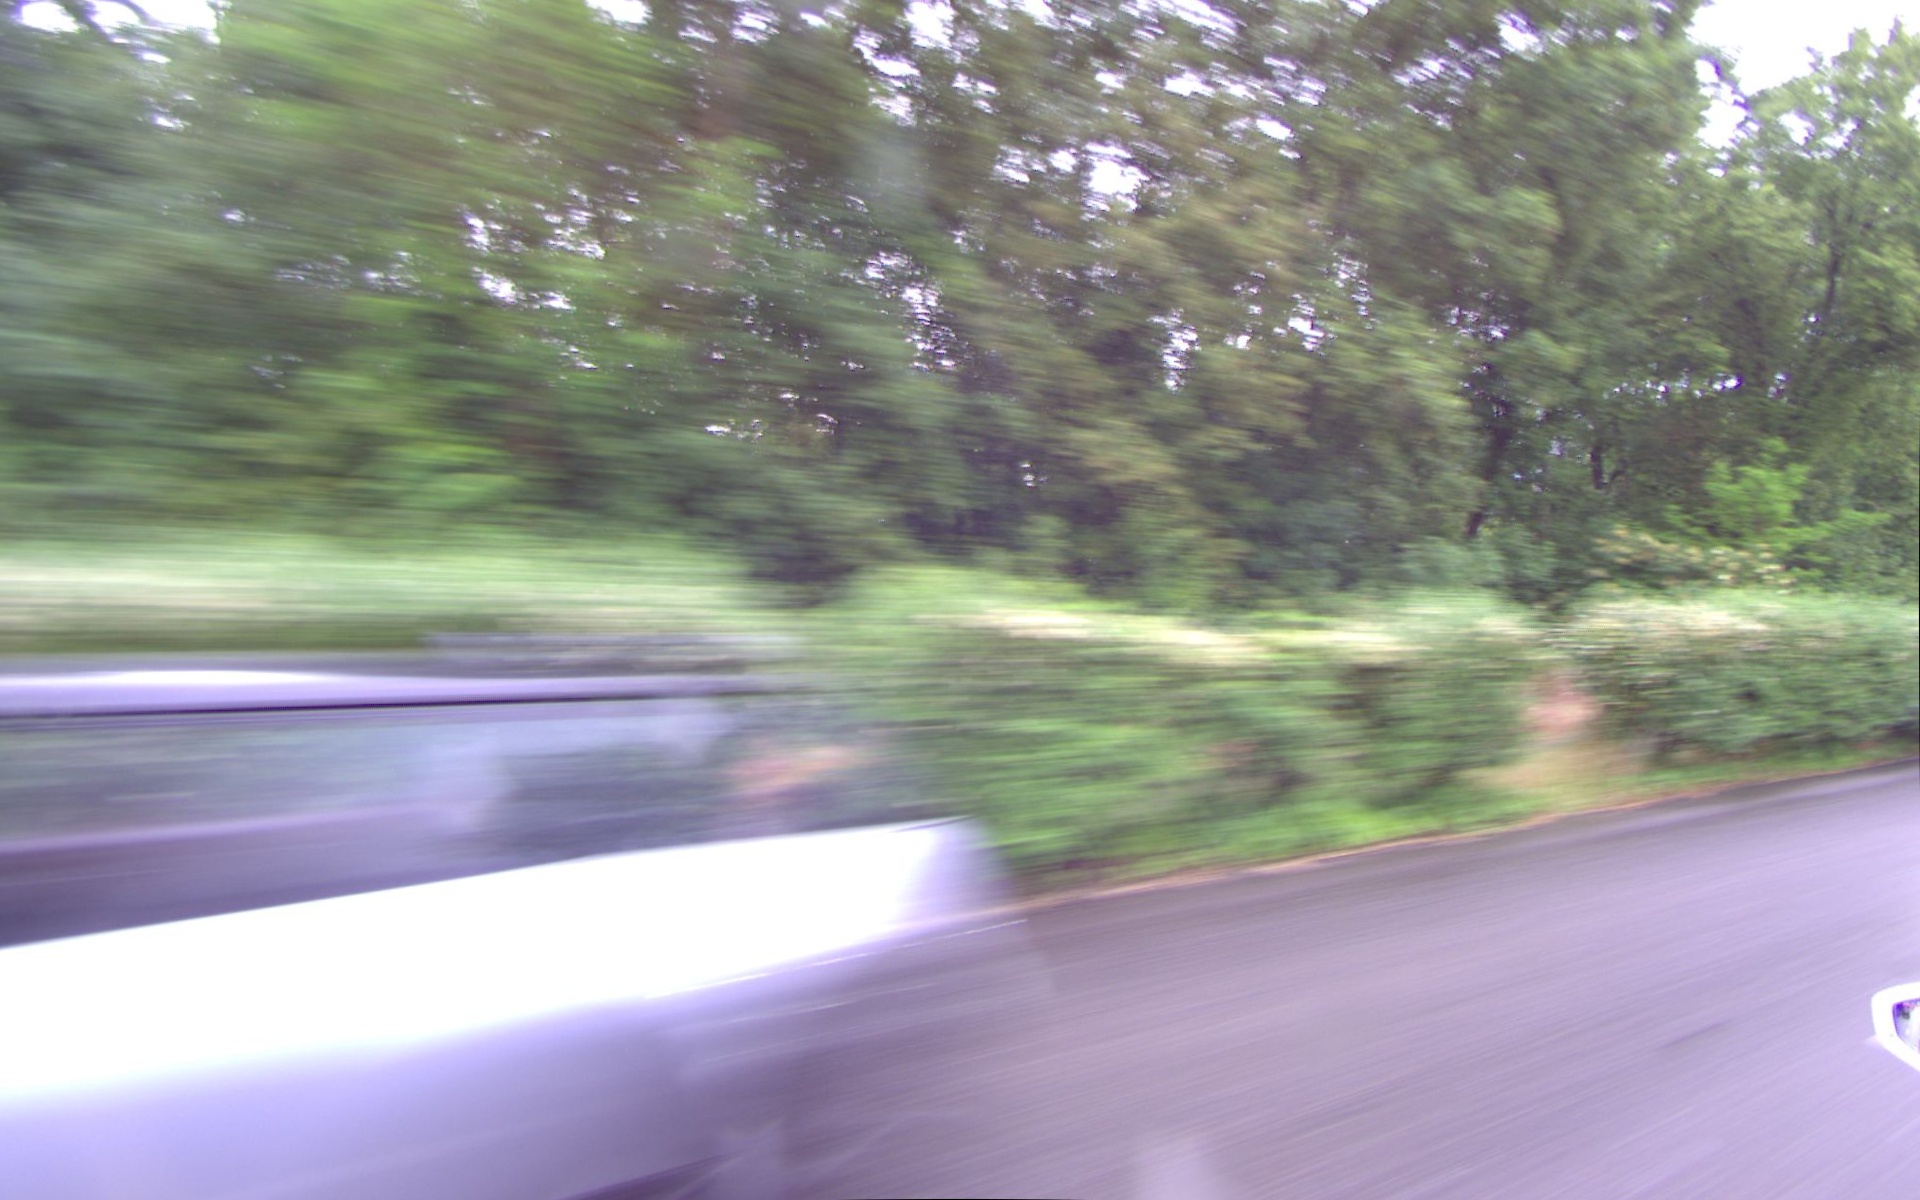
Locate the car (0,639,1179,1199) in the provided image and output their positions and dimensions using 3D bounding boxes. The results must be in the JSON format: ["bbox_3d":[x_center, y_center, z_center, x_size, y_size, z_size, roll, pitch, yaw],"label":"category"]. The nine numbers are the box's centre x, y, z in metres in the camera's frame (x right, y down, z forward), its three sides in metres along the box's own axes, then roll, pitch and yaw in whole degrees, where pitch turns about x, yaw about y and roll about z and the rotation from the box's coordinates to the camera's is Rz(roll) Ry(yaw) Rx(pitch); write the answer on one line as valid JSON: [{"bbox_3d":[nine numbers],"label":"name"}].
[{"bbox_3d":[-1.423,0.810,2.475,3.680,1.374,1.678,0,-2,-30],"label":"car"}]
